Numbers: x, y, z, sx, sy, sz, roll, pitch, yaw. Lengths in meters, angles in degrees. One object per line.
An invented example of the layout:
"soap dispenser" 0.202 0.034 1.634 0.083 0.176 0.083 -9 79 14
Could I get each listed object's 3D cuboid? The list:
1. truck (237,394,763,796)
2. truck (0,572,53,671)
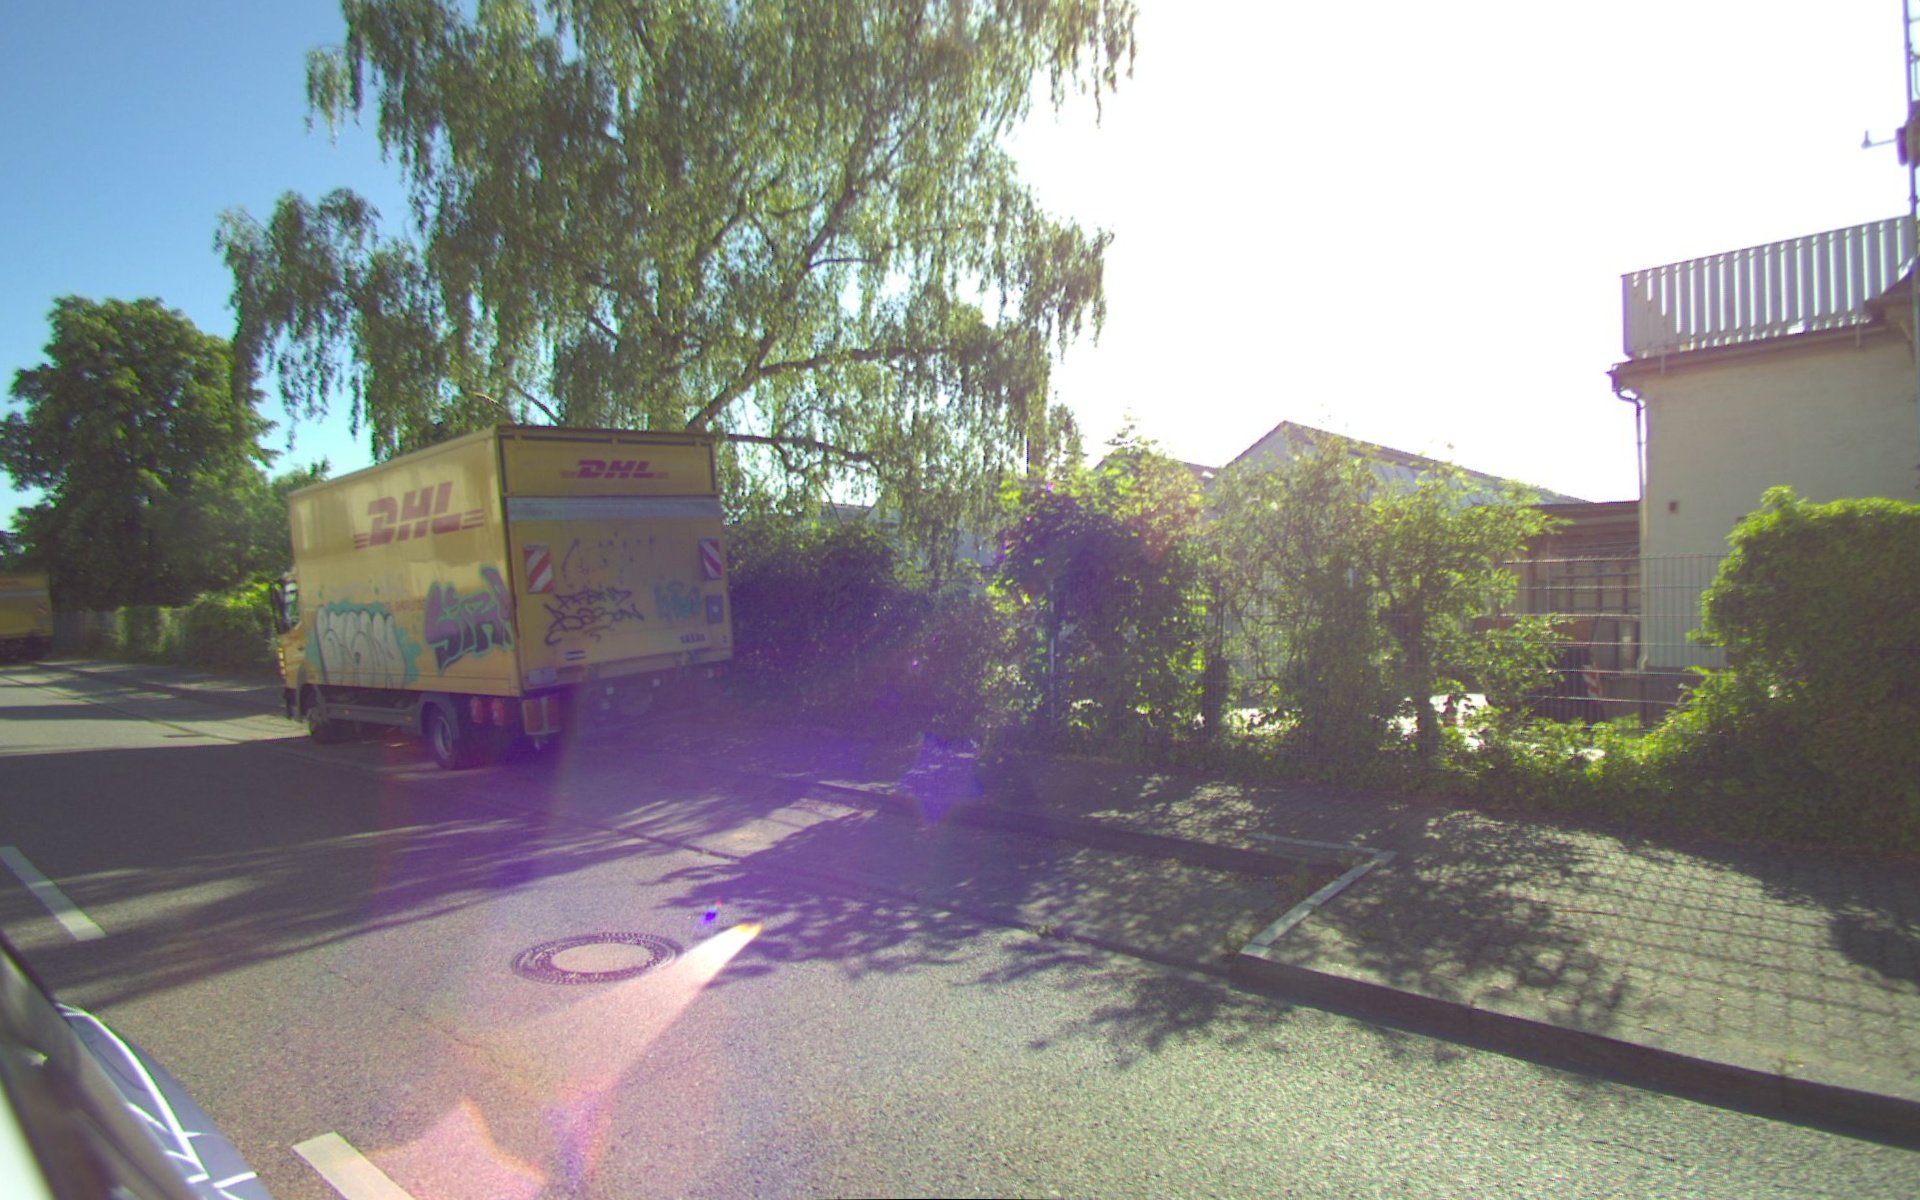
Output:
"truck" -6.235 -0.036 12.860 8.002 3.646 2.813 -2 2 41
"truck" -39.702 0.912 41.476 7.893 3.786 2.760 -2 -3 41
